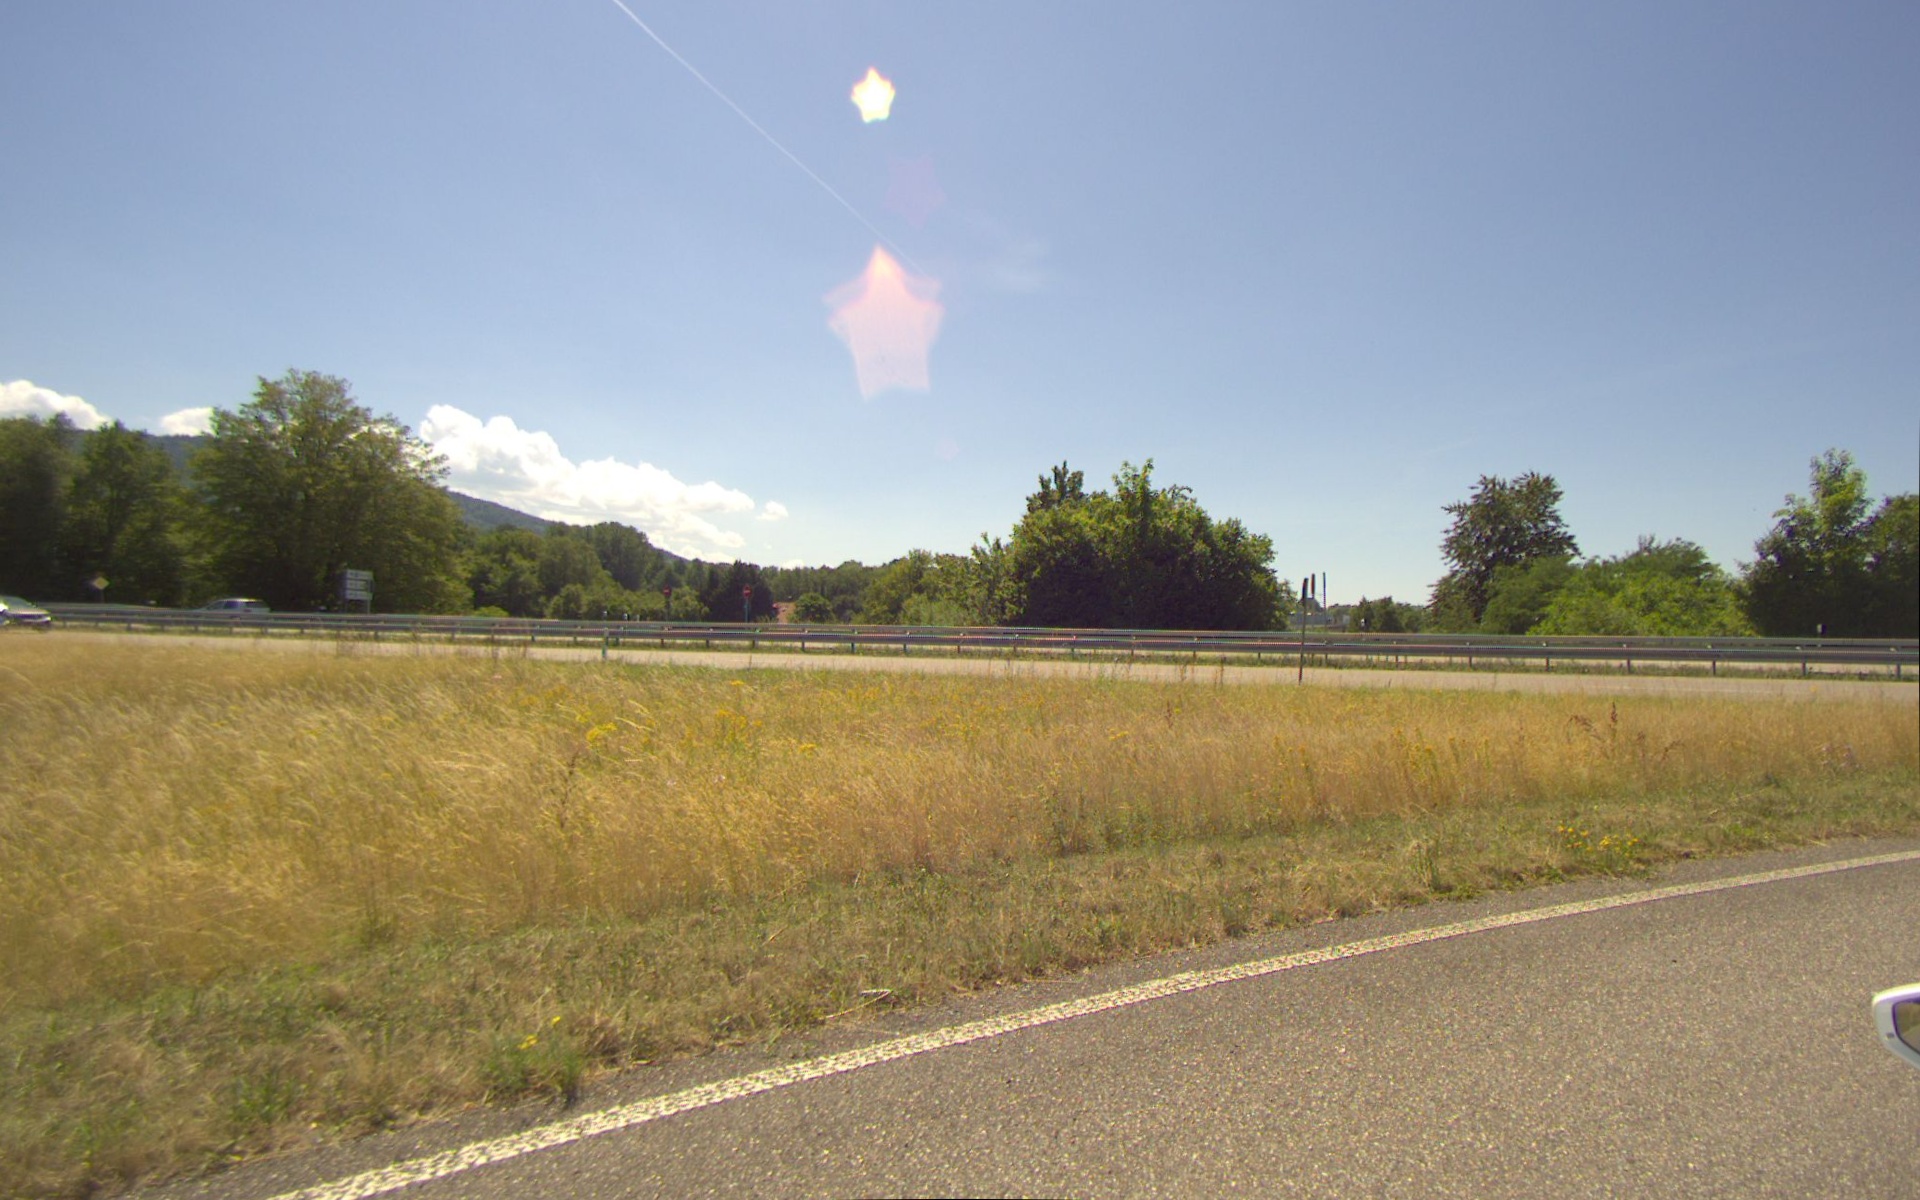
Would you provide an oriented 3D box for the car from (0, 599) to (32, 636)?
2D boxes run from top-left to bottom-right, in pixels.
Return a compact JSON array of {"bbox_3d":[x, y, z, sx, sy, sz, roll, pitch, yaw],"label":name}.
[{"bbox_3d":[-38.488,0.661,38.975,4.382,1.427,1.847,0,0,20],"label":"car"}]

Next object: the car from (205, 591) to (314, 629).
[{"bbox_3d":[-36.541,0.505,52.428,4.812,1.774,1.938,2,0,14],"label":"car"}]

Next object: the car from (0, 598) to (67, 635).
[{"bbox_3d":[-40.773,0.679,42.918,4.380,1.550,1.848,0,0,16],"label":"car"}]
